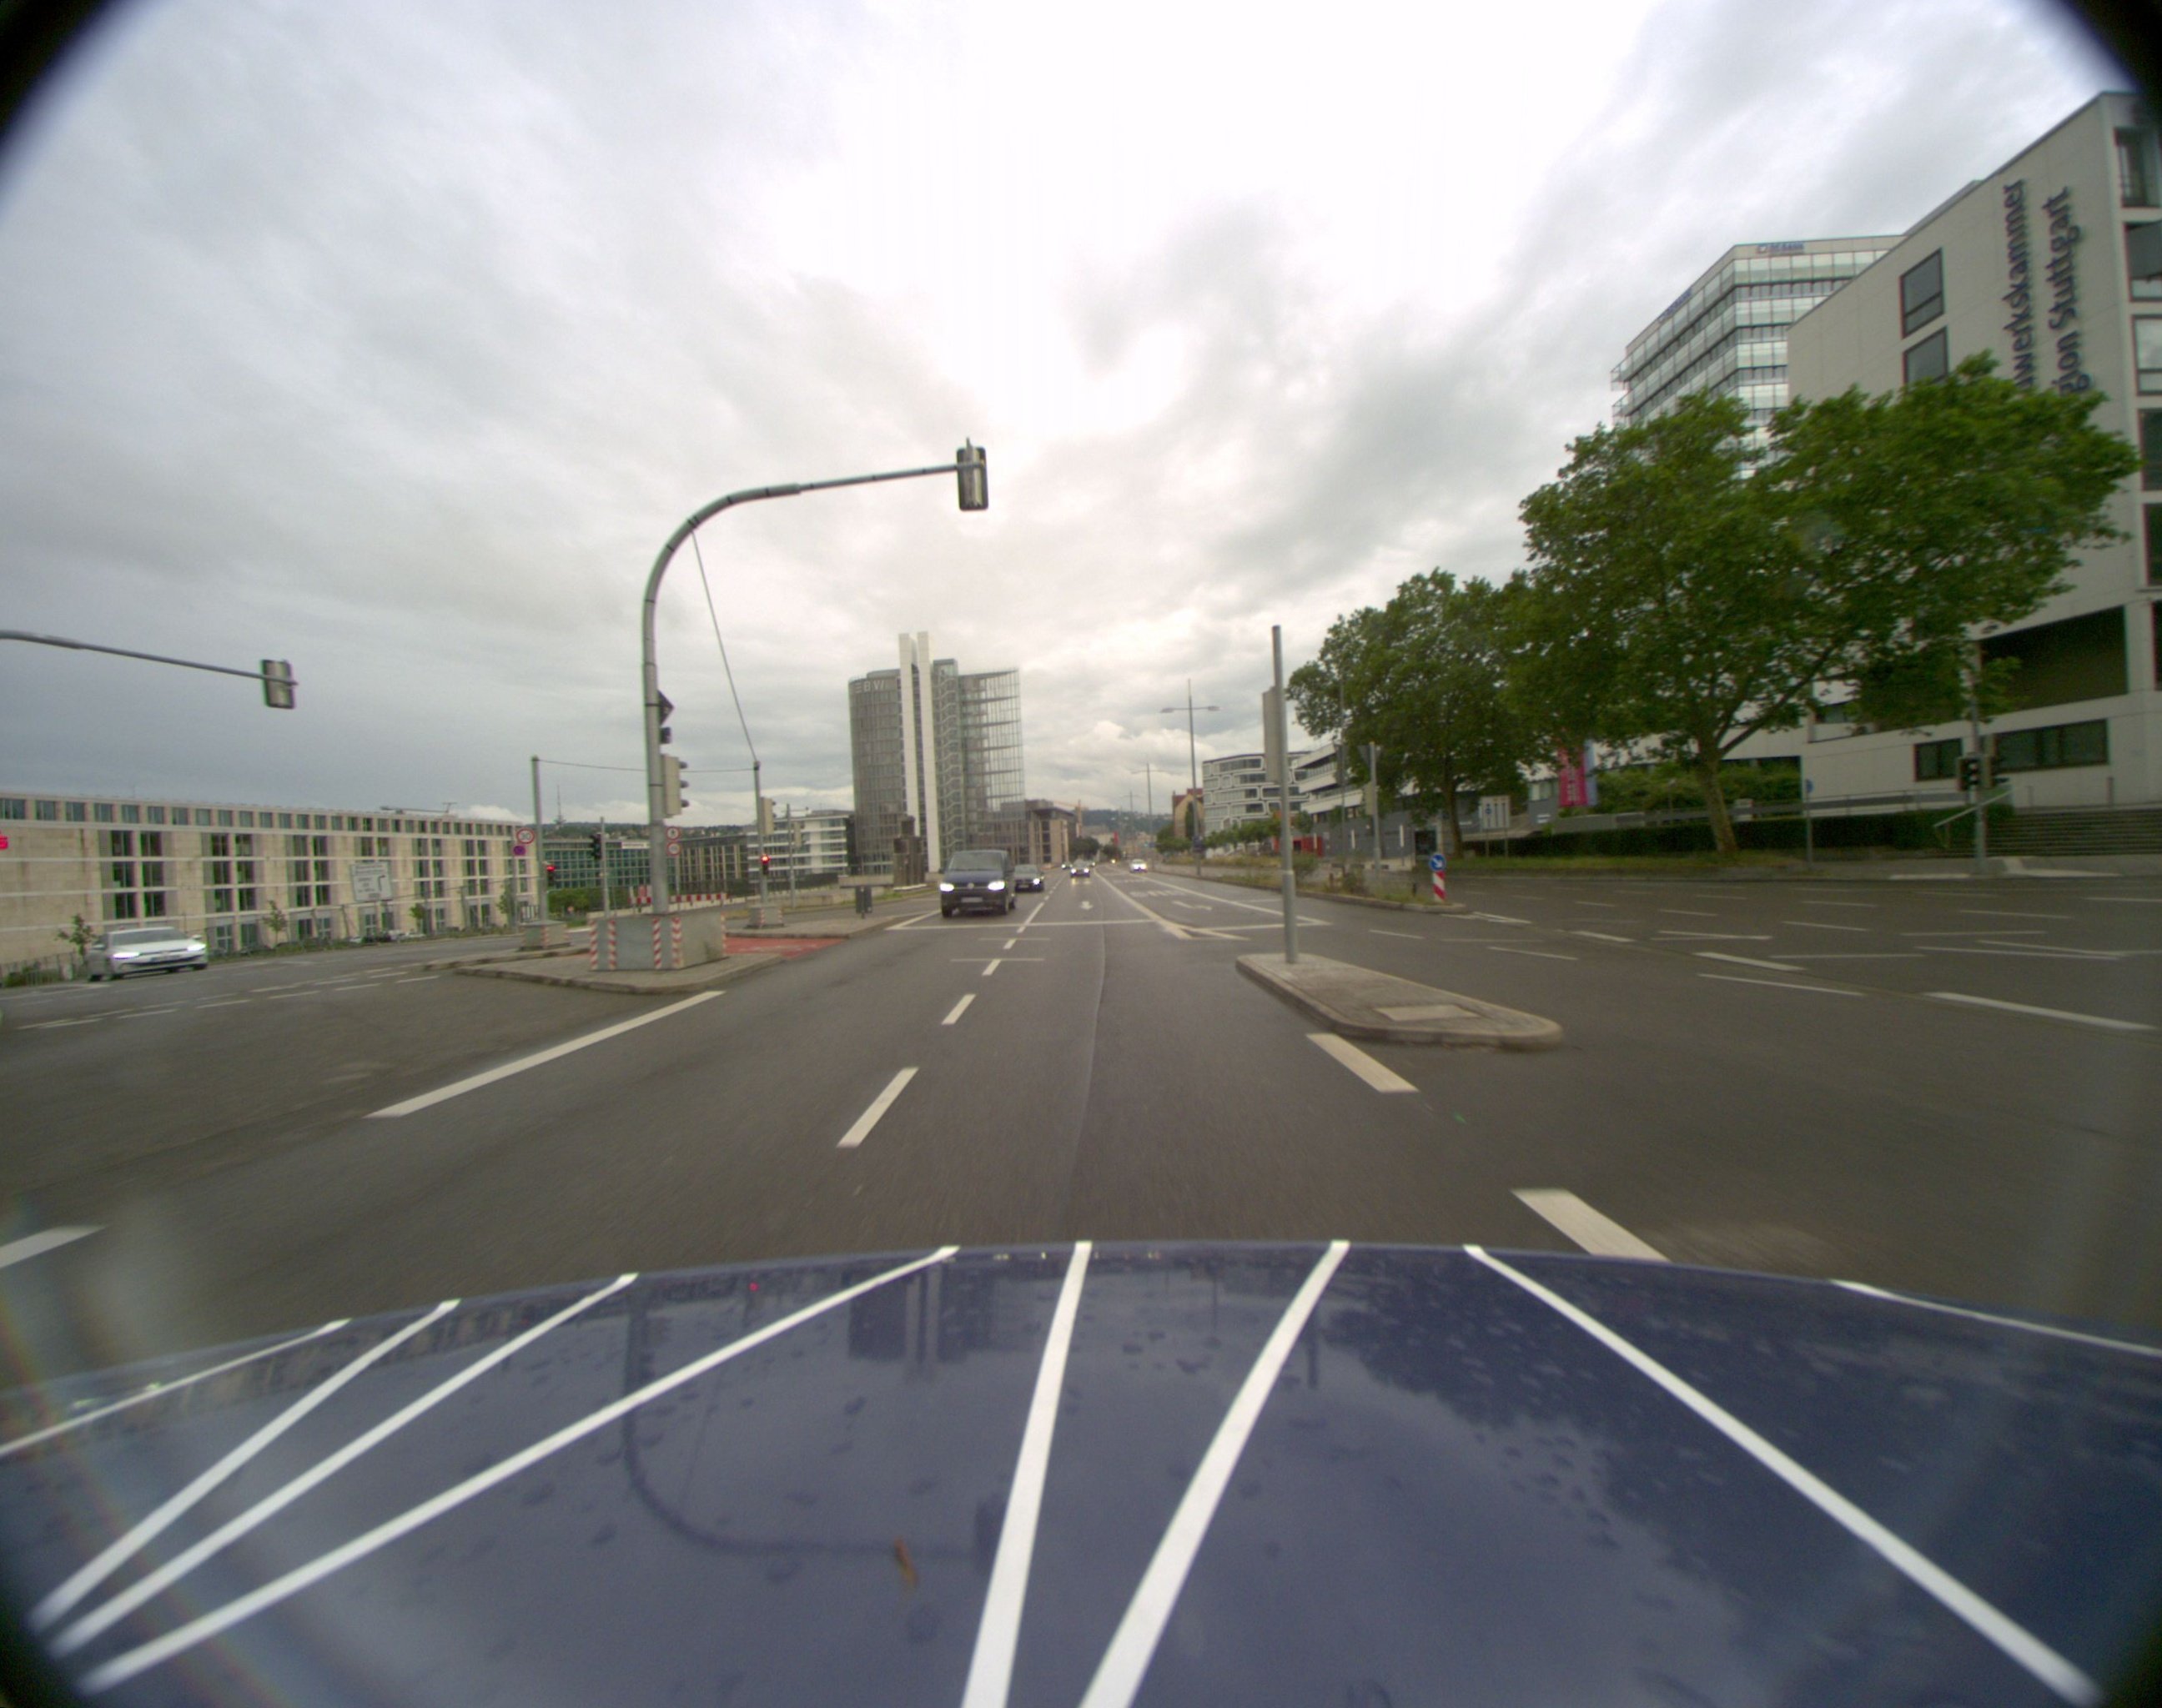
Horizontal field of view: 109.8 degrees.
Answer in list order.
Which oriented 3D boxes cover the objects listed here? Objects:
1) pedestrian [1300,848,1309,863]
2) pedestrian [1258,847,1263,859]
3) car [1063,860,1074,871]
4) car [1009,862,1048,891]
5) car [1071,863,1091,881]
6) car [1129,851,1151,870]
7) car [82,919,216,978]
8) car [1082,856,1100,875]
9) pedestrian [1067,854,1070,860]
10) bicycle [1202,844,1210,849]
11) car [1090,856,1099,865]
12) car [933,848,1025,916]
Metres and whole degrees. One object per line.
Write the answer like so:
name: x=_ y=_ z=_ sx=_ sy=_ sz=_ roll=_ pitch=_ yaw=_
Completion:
pedestrian: x=26.953 y=0.196 z=91.590 sx=0.786 sy=1.797 sz=0.628 roll=-2 pitch=1 yaw=1
pedestrian: x=29.415 y=-0.154 z=124.182 sx=0.631 sy=1.797 sz=0.628 roll=-2 pitch=1 yaw=1
car: x=-2.383 y=2.120 z=144.388 sx=1.998 sy=1.827 sz=3.999 roll=-2 pitch=1 yaw=0
car: x=-2.711 y=1.151 z=40.048 sx=1.727 sy=1.368 sz=4.156 roll=-2 pitch=-1 yaw=0
car: x=0.012 y=1.611 z=68.147 sx=1.684 sy=1.379 sz=3.475 roll=-2 pitch=1 yaw=1
car: x=6.516 y=0.691 z=84.279 sx=1.971 sy=1.816 sz=3.926 roll=-2 pitch=1 yaw=-1
car: x=-27.635 y=2.780 z=22.515 sx=3.990 sy=1.425 sz=1.747 roll=-4 pitch=0 yaw=29
car: x=1.129 y=1.283 z=87.374 sx=1.998 sy=2.002 sz=3.999 roll=-2 pitch=1 yaw=0
pedestrian: x=-3.247 y=0.701 z=198.259 sx=0.660 sy=1.601 sz=0.547 roll=-3 pitch=0 yaw=7
bicycle: x=25.235 y=-1.494 z=153.936 sx=0.610 sy=0.852 sz=1.653 roll=-3 pitch=1 yaw=-32
car: x=3.315 y=1.585 z=180.582 sx=1.998 sy=2.002 sz=3.999 roll=-2 pitch=1 yaw=0
car: x=-3.056 y=0.824 z=23.894 sx=2.038 sy=1.871 sz=5.042 roll=-2 pitch=-1 yaw=1
